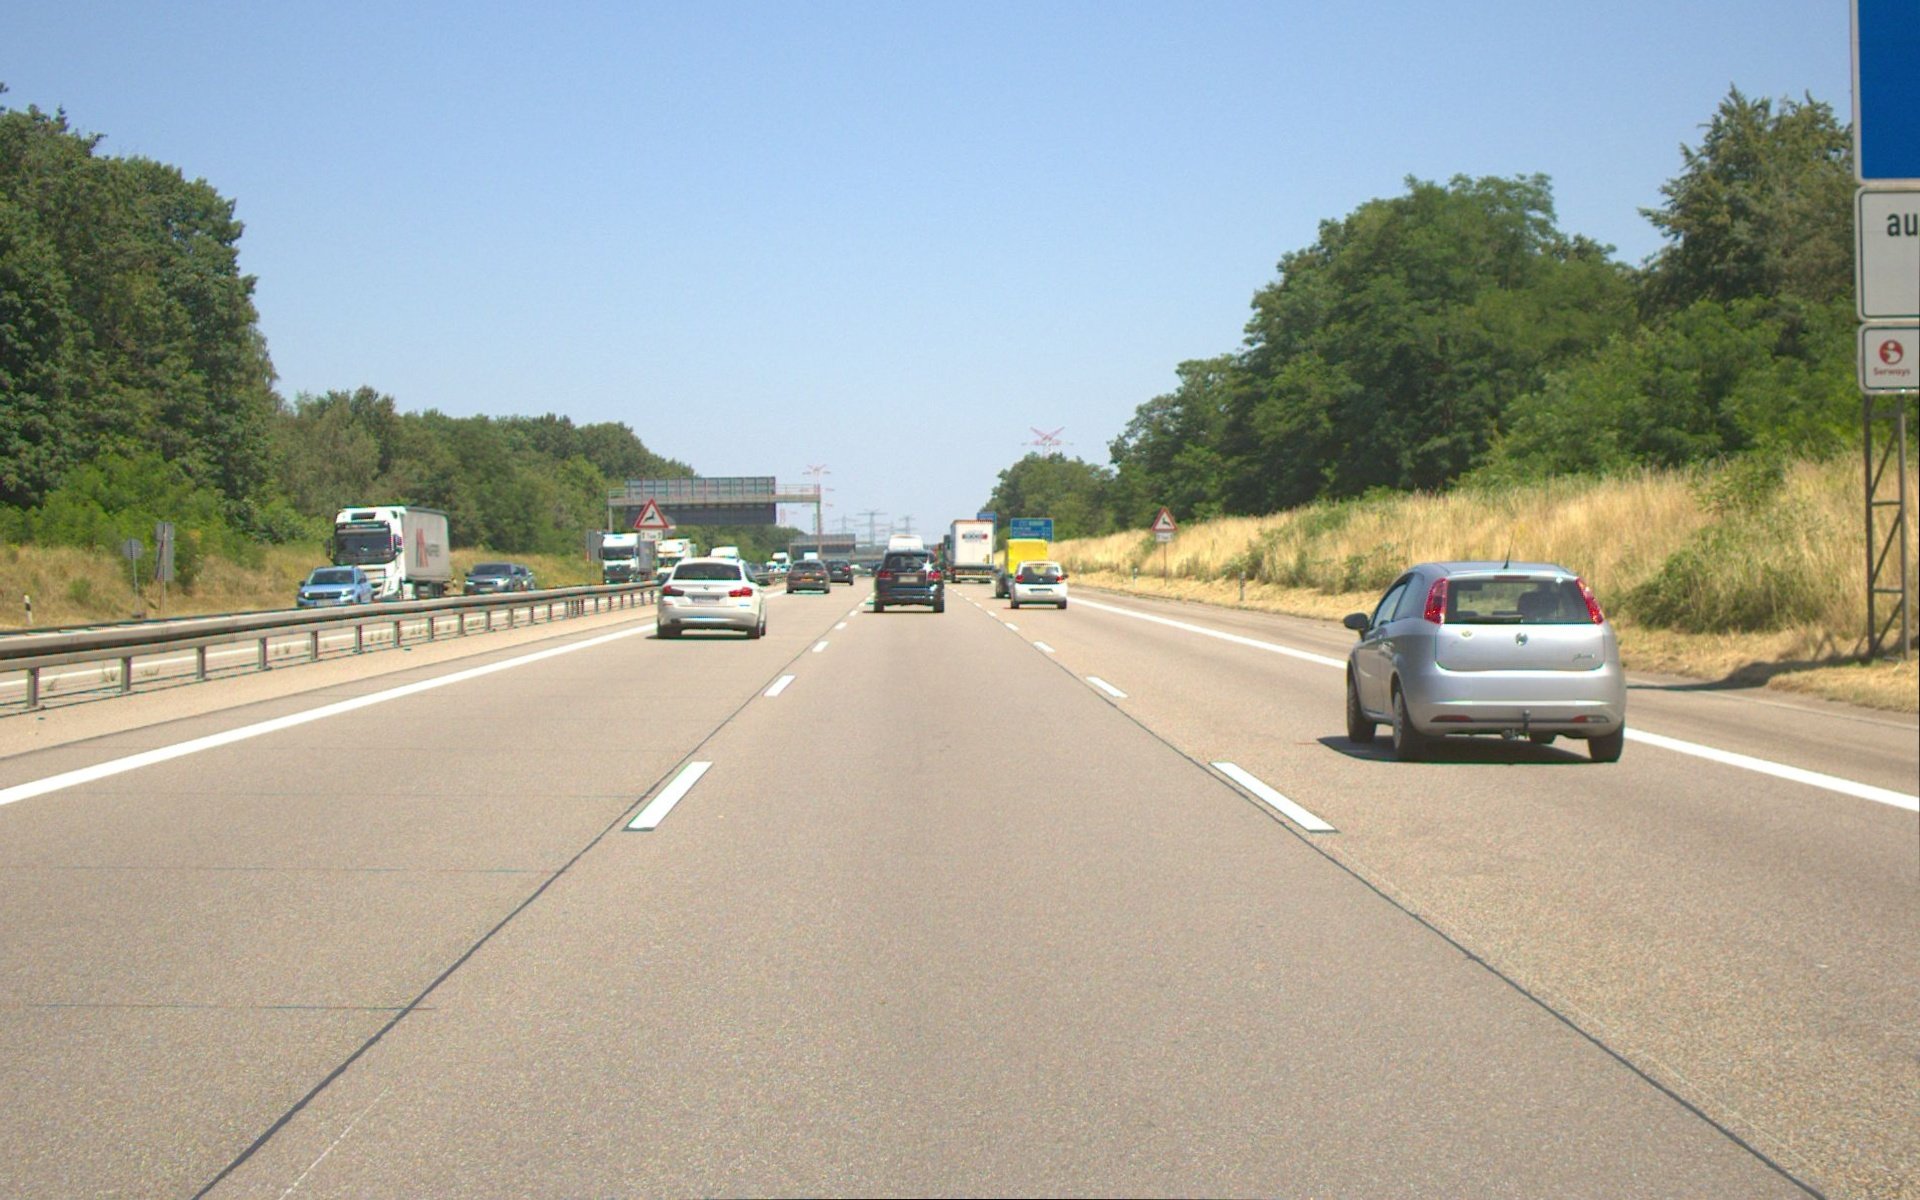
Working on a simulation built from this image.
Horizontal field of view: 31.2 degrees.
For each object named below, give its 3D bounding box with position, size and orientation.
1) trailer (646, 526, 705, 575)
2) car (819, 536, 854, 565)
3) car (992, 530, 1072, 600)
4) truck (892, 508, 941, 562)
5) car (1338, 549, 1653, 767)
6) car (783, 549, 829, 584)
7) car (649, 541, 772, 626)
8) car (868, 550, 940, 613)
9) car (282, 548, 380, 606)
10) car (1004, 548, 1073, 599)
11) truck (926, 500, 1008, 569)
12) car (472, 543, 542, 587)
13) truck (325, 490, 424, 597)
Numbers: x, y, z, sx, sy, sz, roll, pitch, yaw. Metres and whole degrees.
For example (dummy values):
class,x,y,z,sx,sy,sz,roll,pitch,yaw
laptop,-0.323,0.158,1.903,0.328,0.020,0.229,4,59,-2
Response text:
class,x,y,z,sx,sy,sz,roll,pitch,yaw
trailer,-20.529,-3.594,248.525,3.434,3.333,12.024,-1,1,-1
car,-7.100,-2.857,198.027,1.876,1.575,3.928,0,2,0
car,2.735,-1.344,132.074,2.666,2.625,6.114,0,1,-2
truck,-2.393,-3.495,186.715,2.428,2.874,6.206,0,1,-2
car,4.037,0.387,26.472,1.719,1.486,3.738,1,2,-2
car,-6.583,-1.465,147.413,1.832,1.427,5.000,0,1,-1
car,-4.572,-0.331,63.618,1.963,1.498,5.405,0,1,-1
car,-1.566,-0.539,95.157,1.831,1.666,4.001,1,1,-3
car,-18.354,-0.699,100.507,1.993,1.562,4.528,-3,1,-1
car,2.349,-0.794,103.638,1.821,1.486,3.737,0,1,-3
truck,0.409,-4.314,225.340,3.991,4.300,9.884,2,1,-8
car,-17.426,-1.364,132.333,1.993,1.562,5.190,-3,1,-1
truck,-23.208,-2.244,136.523,2.904,4.053,5.654,-3,1,-2
